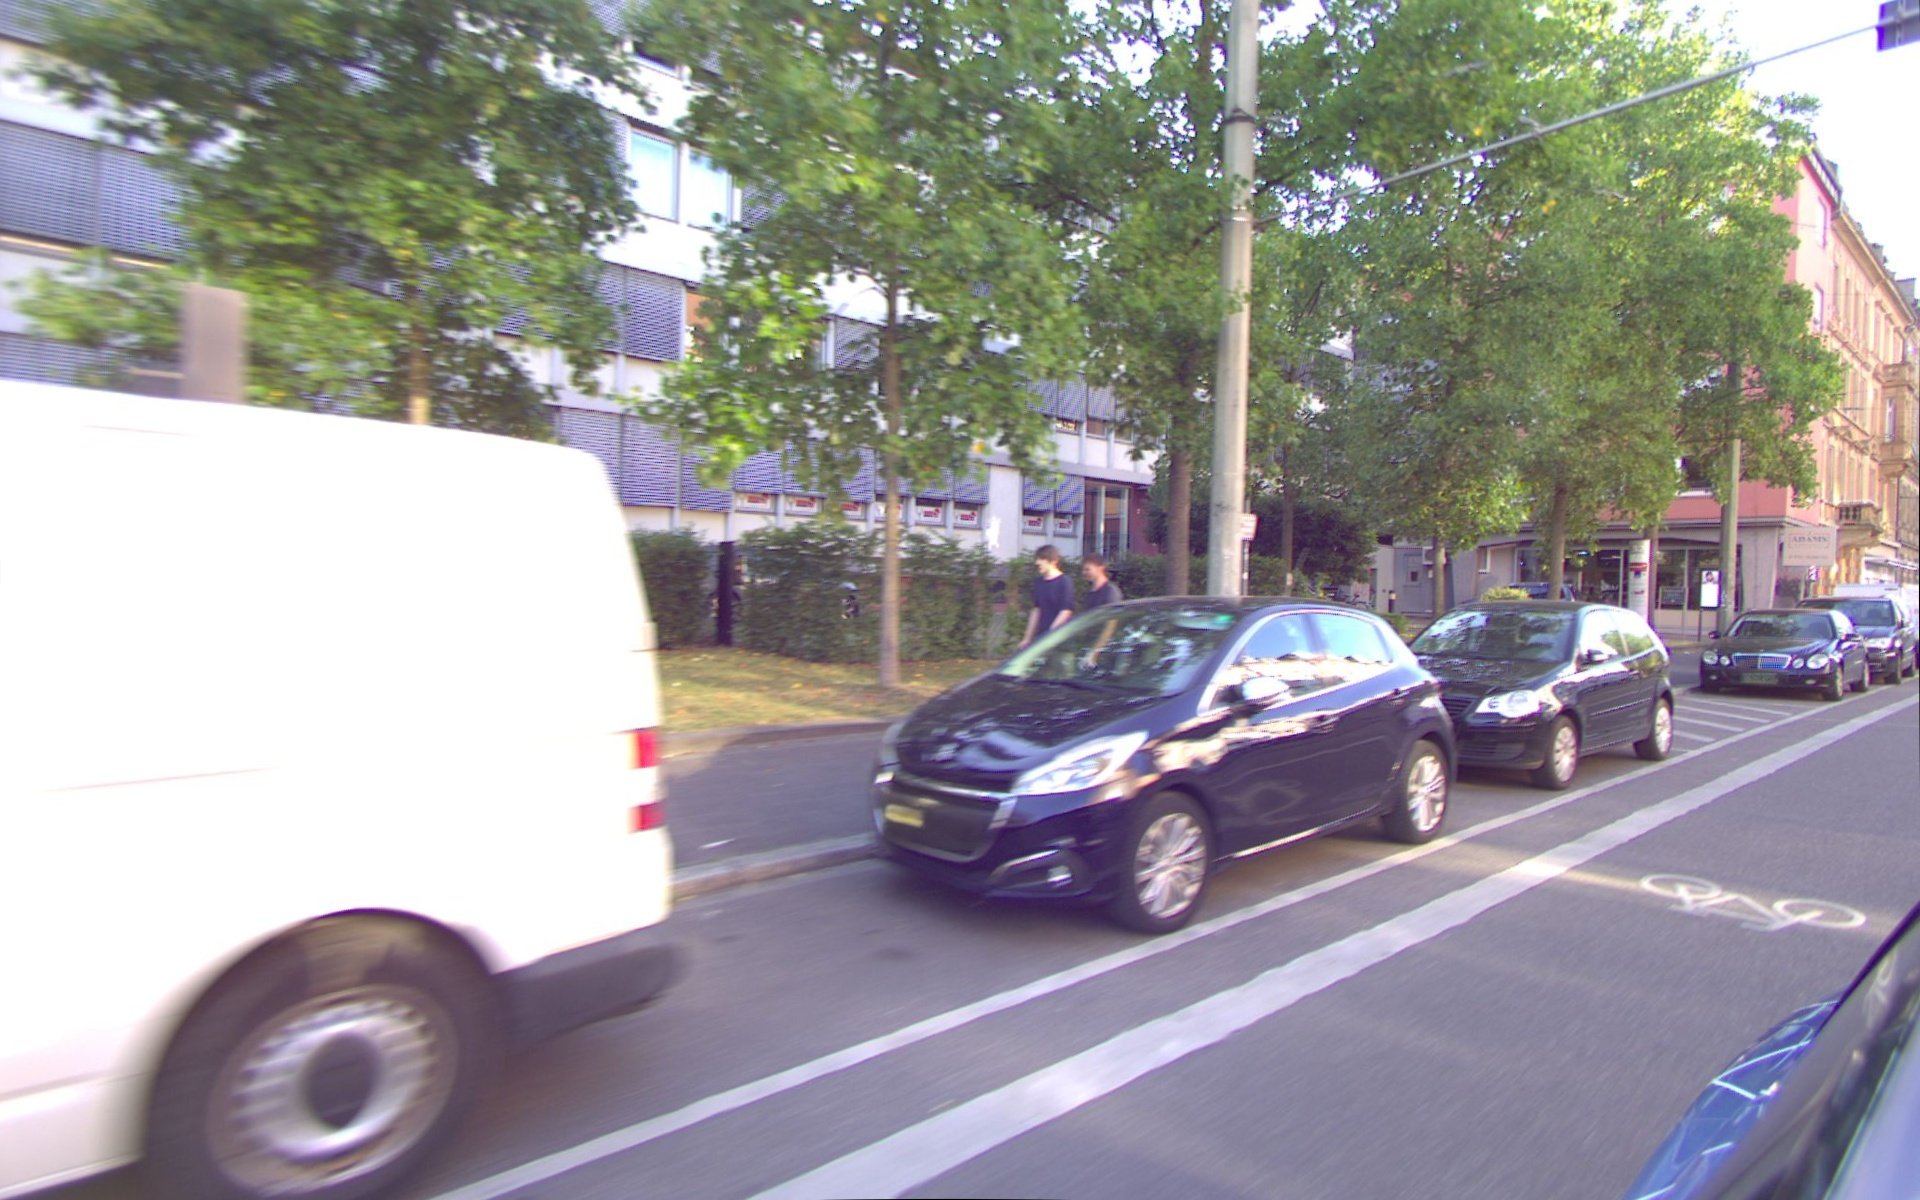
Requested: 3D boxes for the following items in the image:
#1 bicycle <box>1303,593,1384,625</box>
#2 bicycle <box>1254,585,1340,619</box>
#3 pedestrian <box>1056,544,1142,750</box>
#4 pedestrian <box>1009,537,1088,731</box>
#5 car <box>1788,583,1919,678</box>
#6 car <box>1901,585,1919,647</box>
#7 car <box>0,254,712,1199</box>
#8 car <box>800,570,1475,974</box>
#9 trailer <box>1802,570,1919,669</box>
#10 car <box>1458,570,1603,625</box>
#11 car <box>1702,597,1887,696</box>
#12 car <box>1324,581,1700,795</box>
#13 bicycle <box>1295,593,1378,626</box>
[{"bbox_3d":[14.680,0.324,38.798,0.809,1.071,2.799,0,2,-45],"label":"bicycle"},{"bbox_3d":[11.923,0.042,35.902,0.809,1.071,2.799,0,2,-45],"label":"bicycle"},{"bbox_3d":[1.218,0.388,8.890,0.429,1.734,0.494,1,3,-41],"label":"pedestrian"},{"bbox_3d":[0.825,0.299,9.458,0.429,1.734,0.494,1,3,-41],"label":"pedestrian"},{"bbox_3d":[18.796,0.562,21.047,4.397,1.767,1.782,0,0,-42],"label":"car"},{"bbox_3d":[30.602,0.485,31.337,4.614,1.866,1.695,0,0,-41],"label":"car"},{"bbox_3d":[-3.139,0.358,2.002,4.818,2.047,1.881,0,0,-40],"label":"car"},{"bbox_3d":[1.197,0.644,5.692,3.842,1.511,1.686,0,0,-40],"label":"car"},{"bbox_3d":[22.200,0.420,24.509,5.219,2.176,1.784,0,0,-39],"label":"trailer"},{"bbox_3d":[21.074,-0.137,37.528,1.563,1.692,4.361,0,4,-44],"label":"car"},{"bbox_3d":[14.174,0.707,17.120,4.139,1.446,1.782,1,0,-41],"label":"car"},{"bbox_3d":[5.026,0.627,9.017,3.831,1.513,1.597,1,0,-39],"label":"car"},{"bbox_3d":[14.109,0.331,37.991,0.809,1.071,2.799,0,2,-45],"label":"bicycle"}]
